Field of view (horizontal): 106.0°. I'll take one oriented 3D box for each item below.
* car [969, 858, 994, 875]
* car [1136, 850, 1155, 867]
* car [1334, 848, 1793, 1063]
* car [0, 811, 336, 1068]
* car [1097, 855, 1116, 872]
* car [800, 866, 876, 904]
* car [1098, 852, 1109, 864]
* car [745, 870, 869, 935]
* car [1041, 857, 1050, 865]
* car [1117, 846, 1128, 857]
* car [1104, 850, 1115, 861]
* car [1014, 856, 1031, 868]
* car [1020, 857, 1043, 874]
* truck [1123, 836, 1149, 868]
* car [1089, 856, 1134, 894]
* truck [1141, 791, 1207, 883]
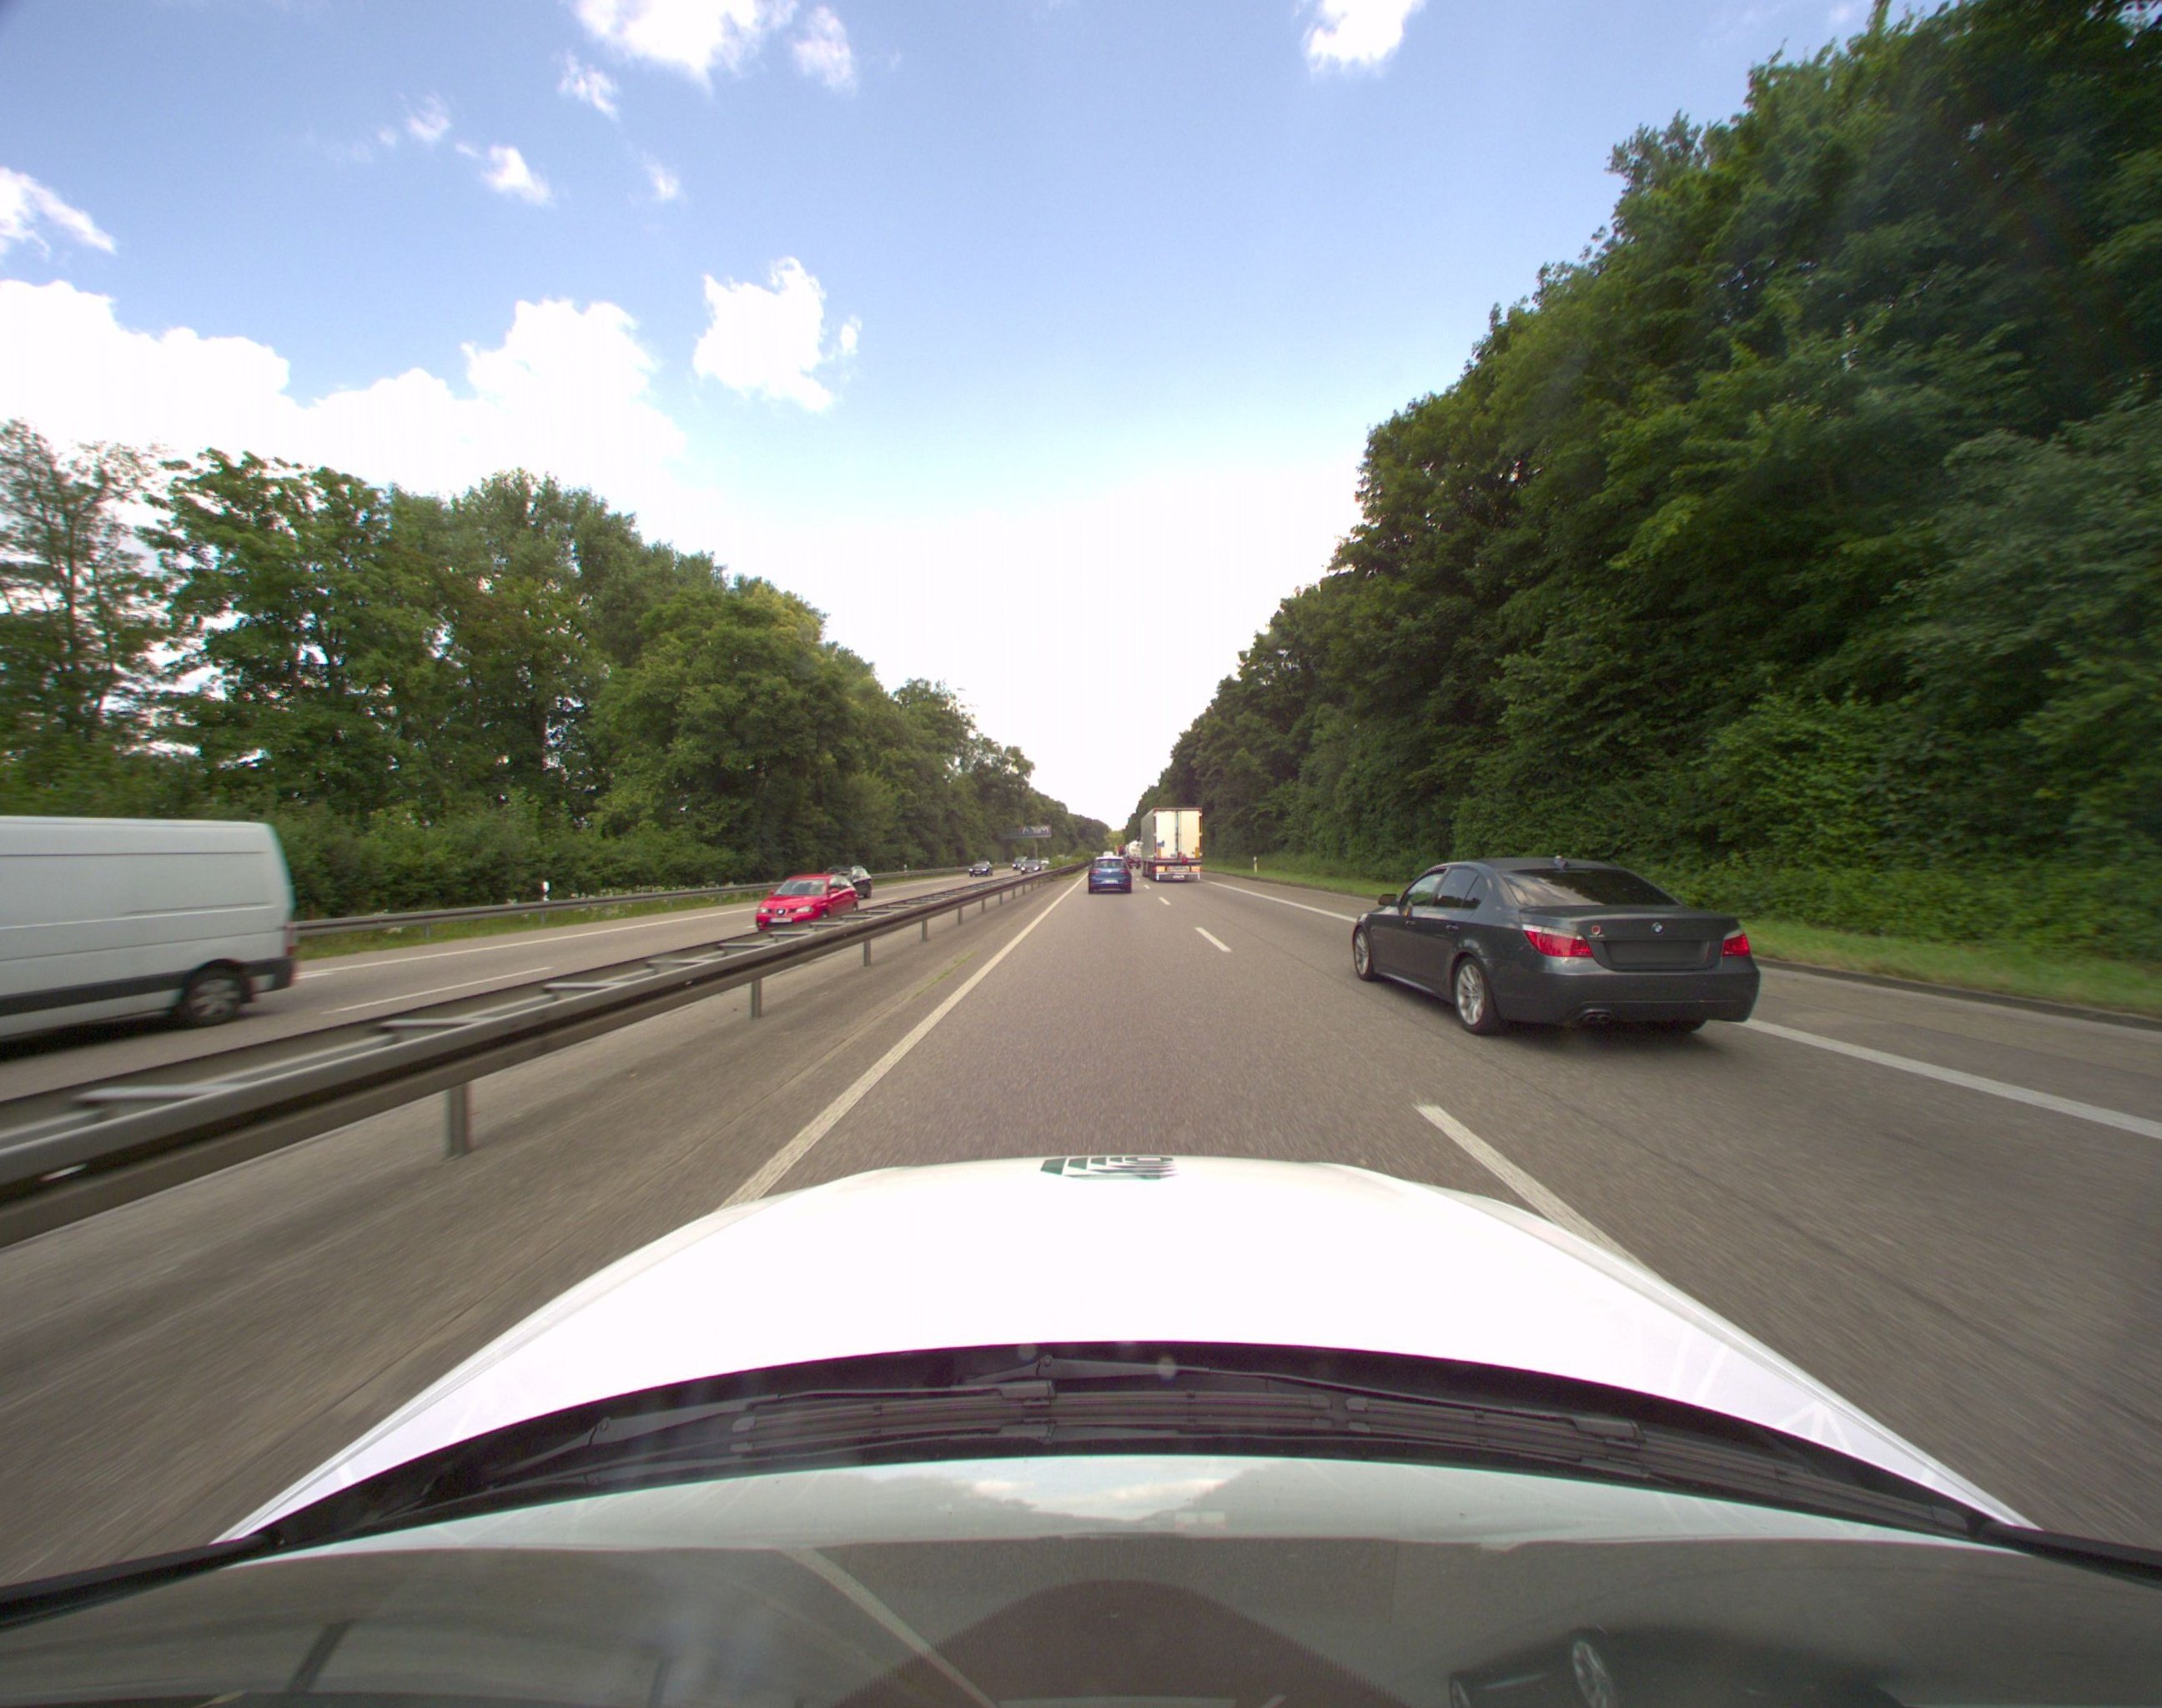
[{"bbox_3d":[-9.670,1.223,79.475,1.673,1.519,4.860,-2,0,1],"label":"car"},{"bbox_3d":[6.909,0.447,87.746,1.881,1.729,4.002,-2,0,2],"label":"car"},{"bbox_3d":[4.099,0.704,8.084,1.768,1.475,4.882,-1,0,2],"label":"car"},{"bbox_3d":[-11.260,0.821,8.104,2.102,2.423,5.835,-1,0,3],"label":"car"},{"bbox_3d":[2.304,0.848,73.343,1.659,1.500,4.154,-1,0,2],"label":"car"},{"bbox_3d":[-10.702,1.323,36.228,1.778,1.478,4.573,-1,0,3],"label":"car"},{"bbox_3d":[4.070,0.665,147.526,1.986,2.013,4.002,-2,0,2],"label":"car"},{"bbox_3d":[-7.082,1.207,21.477,1.671,1.454,4.130,-1,0,3],"label":"car"},{"bbox_3d":[-6.965,1.313,160.070,1.531,1.396,3.512,-2,0,1],"label":"car"},{"bbox_3d":[8.889,-0.520,173.322,1.987,2.327,4.441,-2,0,-1],"label":"car"},{"bbox_3d":[5.947,0.299,170.823,1.987,2.255,4.440,-2,0,-1],"label":"car"},{"bbox_3d":[-7.931,1.107,111.002,1.753,1.593,4.635,-1,0,1],"label":"car"},{"bbox_3d":[-4.863,1.080,80.410,1.774,1.519,4.267,-2,0,1],"label":"car"},{"bbox_3d":[7.799,-0.210,116.749,3.219,4.386,12.976,-1,-1,2],"label":"truck"},{"bbox_3d":[1.238,0.811,33.453,1.699,1.470,4.001,-1,0,1],"label":"car"},{"bbox_3d":[5.279,-0.917,48.336,3.228,4.716,11.018,-2,0,4],"label":"truck"}]
